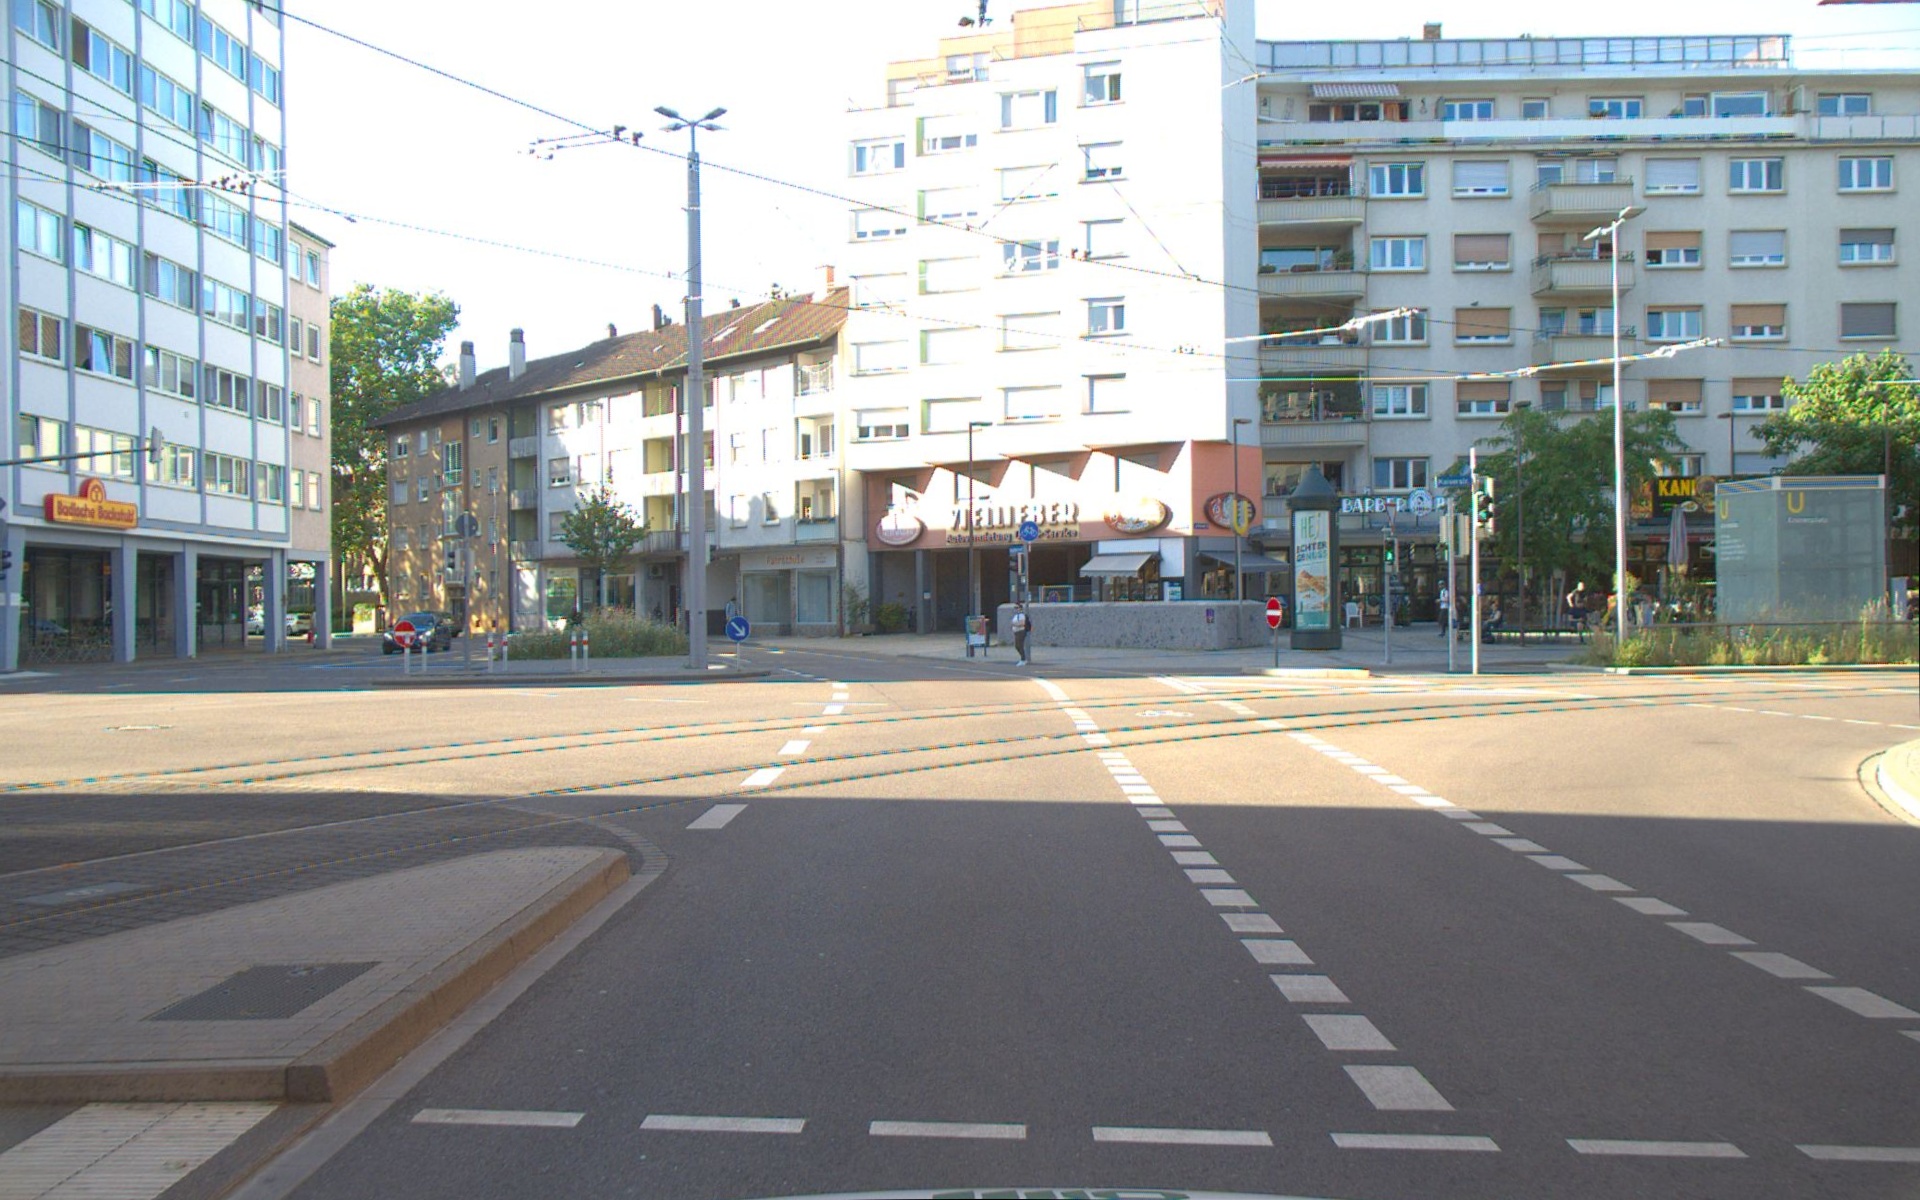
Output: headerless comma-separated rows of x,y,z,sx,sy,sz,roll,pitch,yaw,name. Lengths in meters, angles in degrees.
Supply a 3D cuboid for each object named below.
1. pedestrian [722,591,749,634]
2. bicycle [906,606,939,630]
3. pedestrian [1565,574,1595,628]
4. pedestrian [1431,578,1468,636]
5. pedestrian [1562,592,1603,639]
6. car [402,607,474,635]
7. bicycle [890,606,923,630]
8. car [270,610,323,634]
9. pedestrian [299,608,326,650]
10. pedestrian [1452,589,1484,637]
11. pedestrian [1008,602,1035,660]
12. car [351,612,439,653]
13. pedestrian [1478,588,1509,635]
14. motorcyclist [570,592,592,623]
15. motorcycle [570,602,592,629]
-10.240,0.567,75.317,0.728,1.886,0.932,-3,1,-45,pedestrian
-1.644,0.787,73.014,0.492,1.057,1.612,0,0,-44,bicycle
20.718,0.030,55.286,0.668,1.776,0.716,-1,0,-10,pedestrian
16.239,0.235,54.895,1.020,1.899,0.688,-1,0,3,pedestrian
18.698,0.454,49.669,0.705,1.388,1.107,-1,0,-8,pedestrian
-27.651,1.118,87.593,3.929,1.413,1.918,-1,0,42,car
-2.375,0.796,72.705,0.492,1.057,1.612,0,0,-44,bicycle
-45.337,1.486,112.961,2.024,1.531,4.026,-1,0,-44,car
-27.244,1.208,69.585,0.762,1.754,0.803,-1,-1,42,pedestrian
16.047,0.408,52.267,0.706,1.471,0.926,0,0,36,pedestrian
1.738,0.870,46.615,0.536,1.611,0.548,0,-1,-42,pedestrian
-20.514,1.153,60.269,1.796,1.410,4.593,-1,-1,-3,car
16.649,0.363,51.573,0.705,1.445,0.927,0,0,32,pedestrian
-16.856,0.344,73.591,0.953,1.371,1.134,1,0,-13,motorcyclist
-16.881,0.678,73.693,0.956,1.151,2.795,1,0,-13,motorcycle
